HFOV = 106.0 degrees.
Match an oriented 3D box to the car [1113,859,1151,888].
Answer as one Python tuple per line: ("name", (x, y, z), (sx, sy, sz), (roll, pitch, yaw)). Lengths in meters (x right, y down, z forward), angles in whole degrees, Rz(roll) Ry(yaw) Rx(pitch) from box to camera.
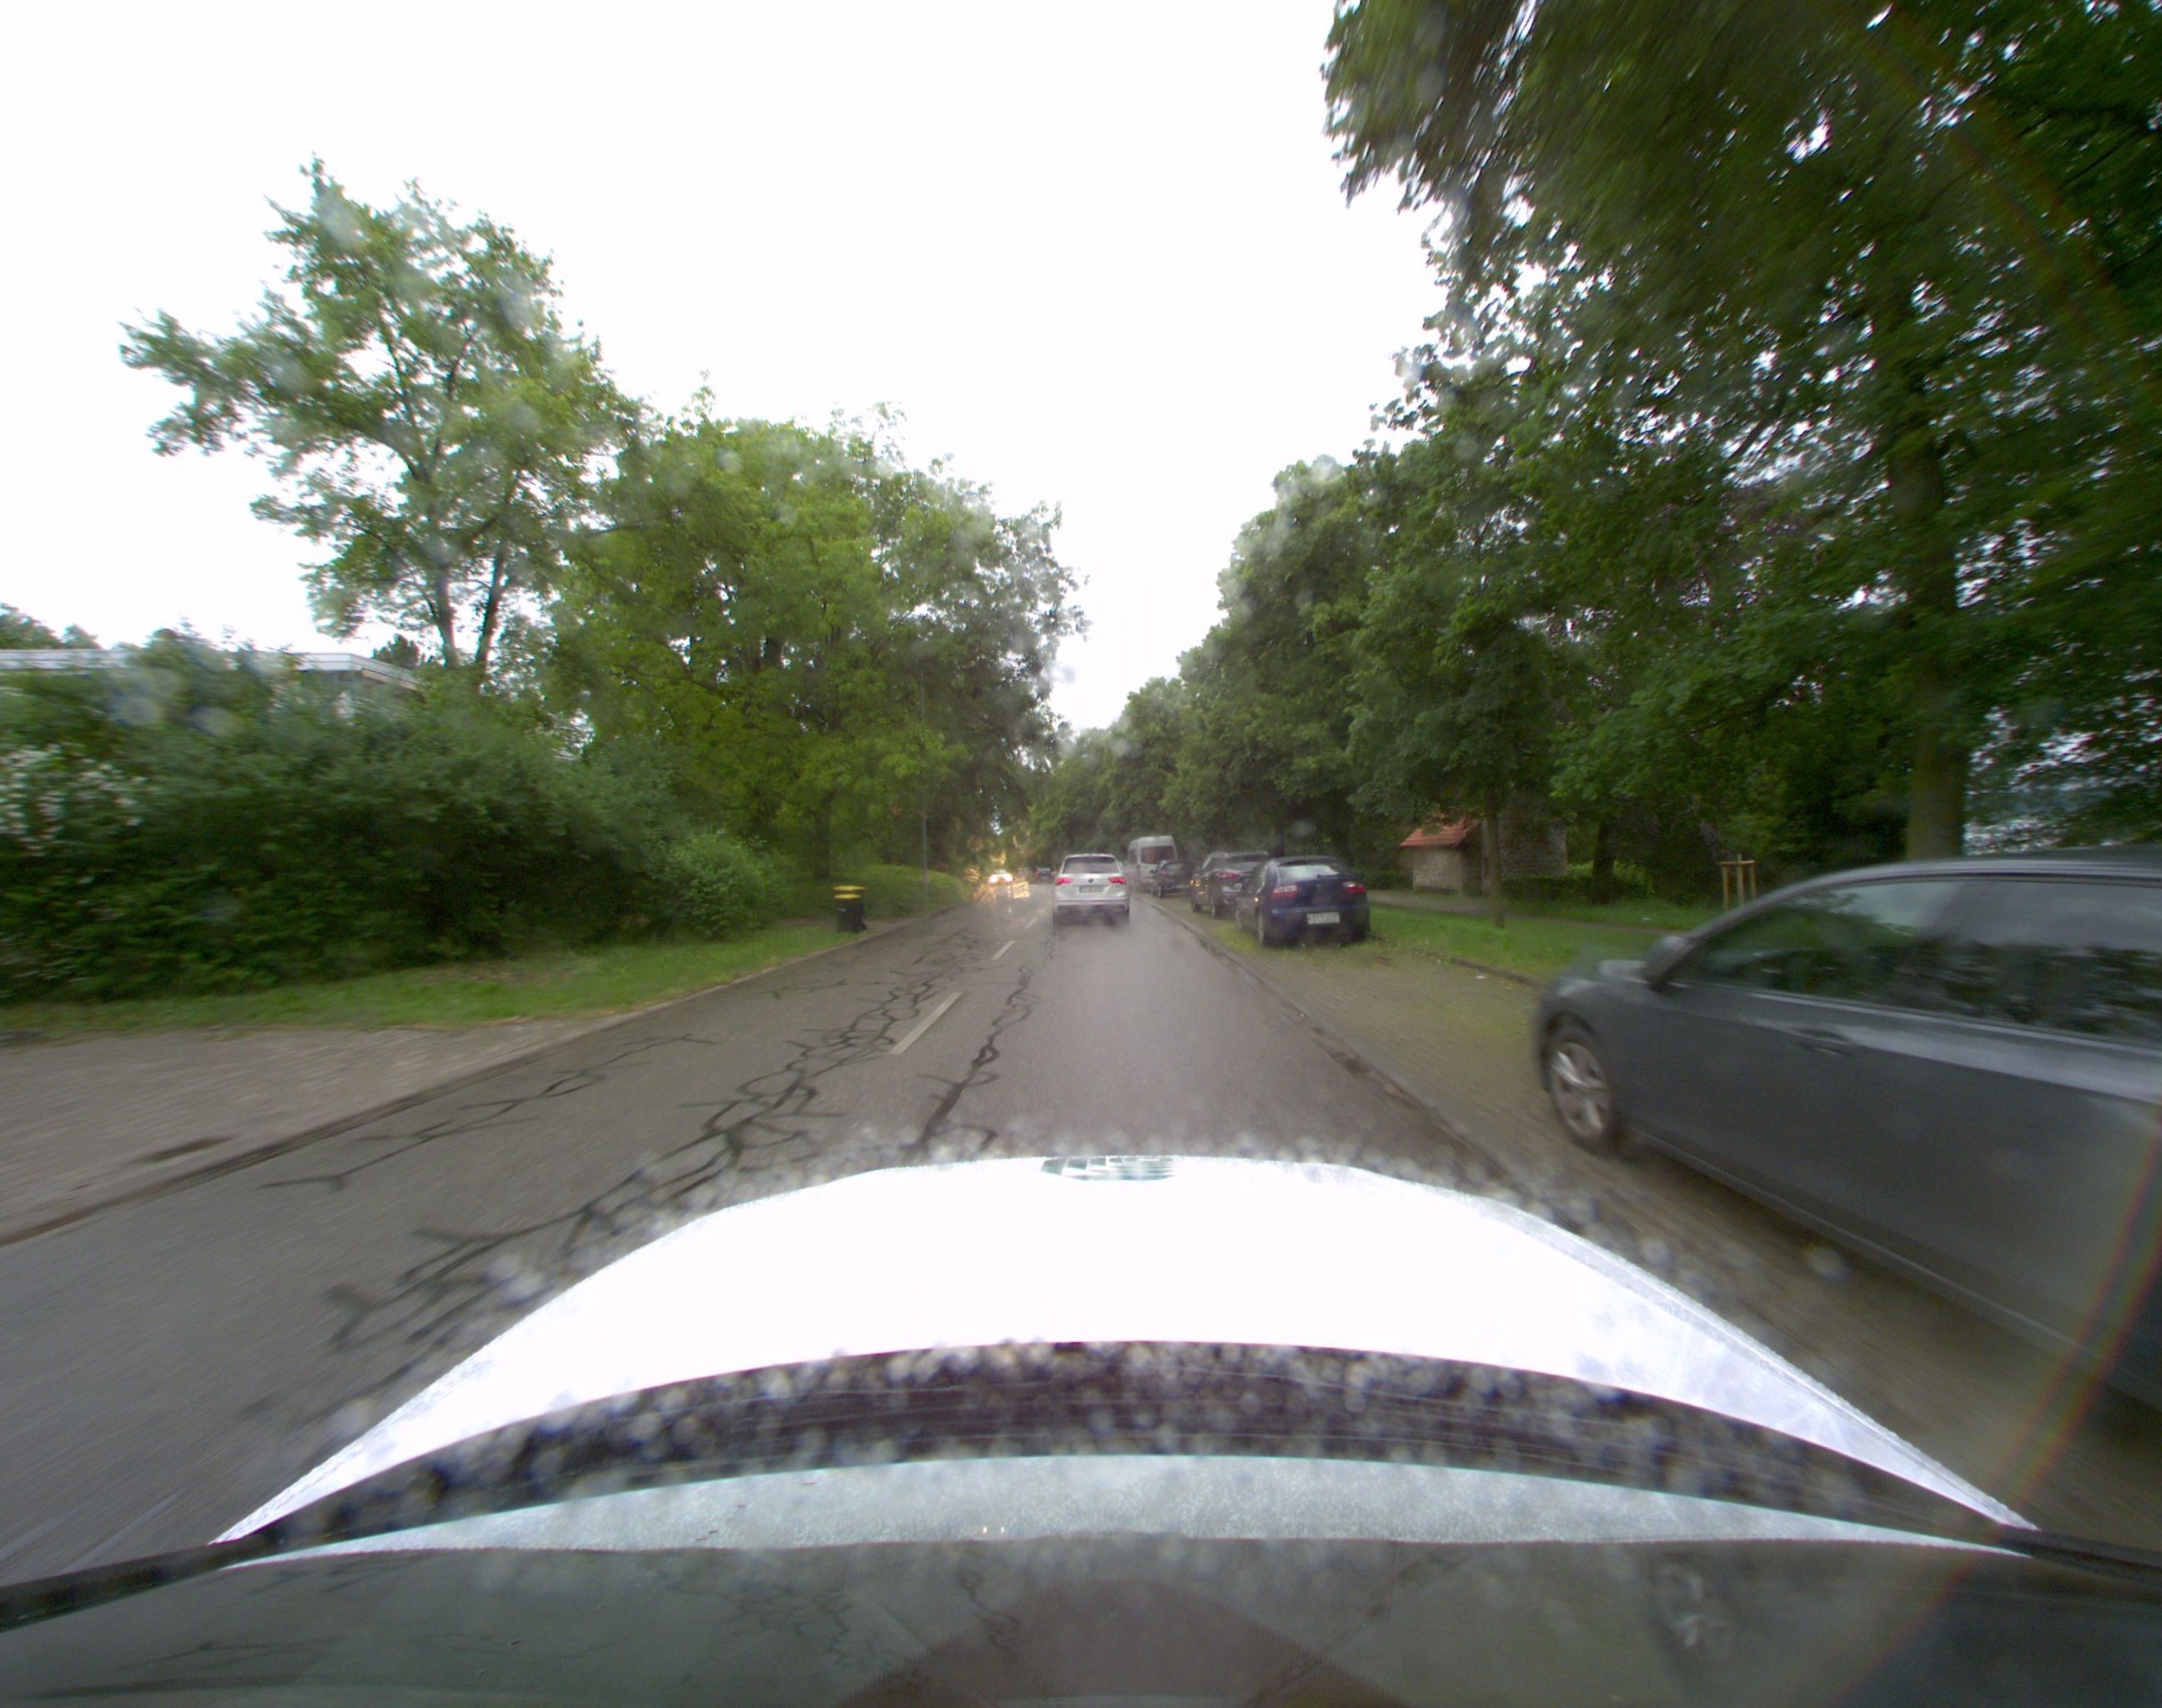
("car", (2.971, 1.137, 48.127), (1.800, 1.539, 4.264), (-3, -1, -2))

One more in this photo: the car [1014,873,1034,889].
("car", (-7.958, 3.818, 112.770), (1.995, 1.910, 5.484), (-1, -4, -12))

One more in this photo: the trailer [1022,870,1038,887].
("trailer", (-6.808, 3.256, 108.158), (1.531, 2.076, 3.983), (-3, -3, -11))

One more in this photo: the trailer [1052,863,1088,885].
("trailer", (-1.111, 1.895, 76.848), (2.450, 1.813, 5.870), (-2, -2, -10))

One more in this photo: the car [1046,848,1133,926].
("car", (0.173, 0.750, 20.502), (1.899, 1.685, 4.199), (-2, 0, -1))

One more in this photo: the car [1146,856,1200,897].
("car", (3.673, 0.870, 33.089), (1.858, 1.511, 3.727), (-2, 0, 2))

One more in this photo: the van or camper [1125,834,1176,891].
("van or camper", (3.382, 0.373, 41.372), (2.009, 2.583, 8.436), (0, 0, 1))

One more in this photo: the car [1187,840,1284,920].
("car", (3.778, 0.589, 20.629), (1.774, 1.719, 4.264), (-3, 0, 3))

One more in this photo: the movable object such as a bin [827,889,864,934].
("movable object such as a bin", (-5.381, 1.303, 18.615), (0.645, 0.979, 0.578), (0, 0, 2))

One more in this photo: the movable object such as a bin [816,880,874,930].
("movable object such as a bin", (-5.597, 1.198, 19.371), (1.033, 1.105, 0.967), (0, 0, 2))

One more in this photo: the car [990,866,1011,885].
("car", (-7.170, 1.922, 72.962), (1.662, 1.477, 3.726), (-4, 0, -4))

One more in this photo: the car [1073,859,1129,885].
("car", (1.463, 1.318, 59.956), (3.956, 1.681, 1.621), (-5, -2, 42))

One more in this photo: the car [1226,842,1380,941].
("car", (3.708, 0.566, 14.287), (1.736, 1.452, 4.003), (-2, 0, 3))

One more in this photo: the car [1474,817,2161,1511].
("car", (3.154, 0.634, 2.738), (1.694, 1.461, 4.219), (-3, 0, 2))

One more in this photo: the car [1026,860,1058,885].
("car", (-3.377, 1.548, 69.890), (1.996, 2.013, 3.982), (-1, 1, -14))

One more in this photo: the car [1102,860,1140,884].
("car", (2.645, 1.176, 54.590), (1.990, 1.497, 4.559), (-2, 0, -4))

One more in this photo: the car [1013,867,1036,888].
("car", (-5.969, 2.464, 85.853), (1.994, 2.013, 3.985), (-1, 1, -11))
